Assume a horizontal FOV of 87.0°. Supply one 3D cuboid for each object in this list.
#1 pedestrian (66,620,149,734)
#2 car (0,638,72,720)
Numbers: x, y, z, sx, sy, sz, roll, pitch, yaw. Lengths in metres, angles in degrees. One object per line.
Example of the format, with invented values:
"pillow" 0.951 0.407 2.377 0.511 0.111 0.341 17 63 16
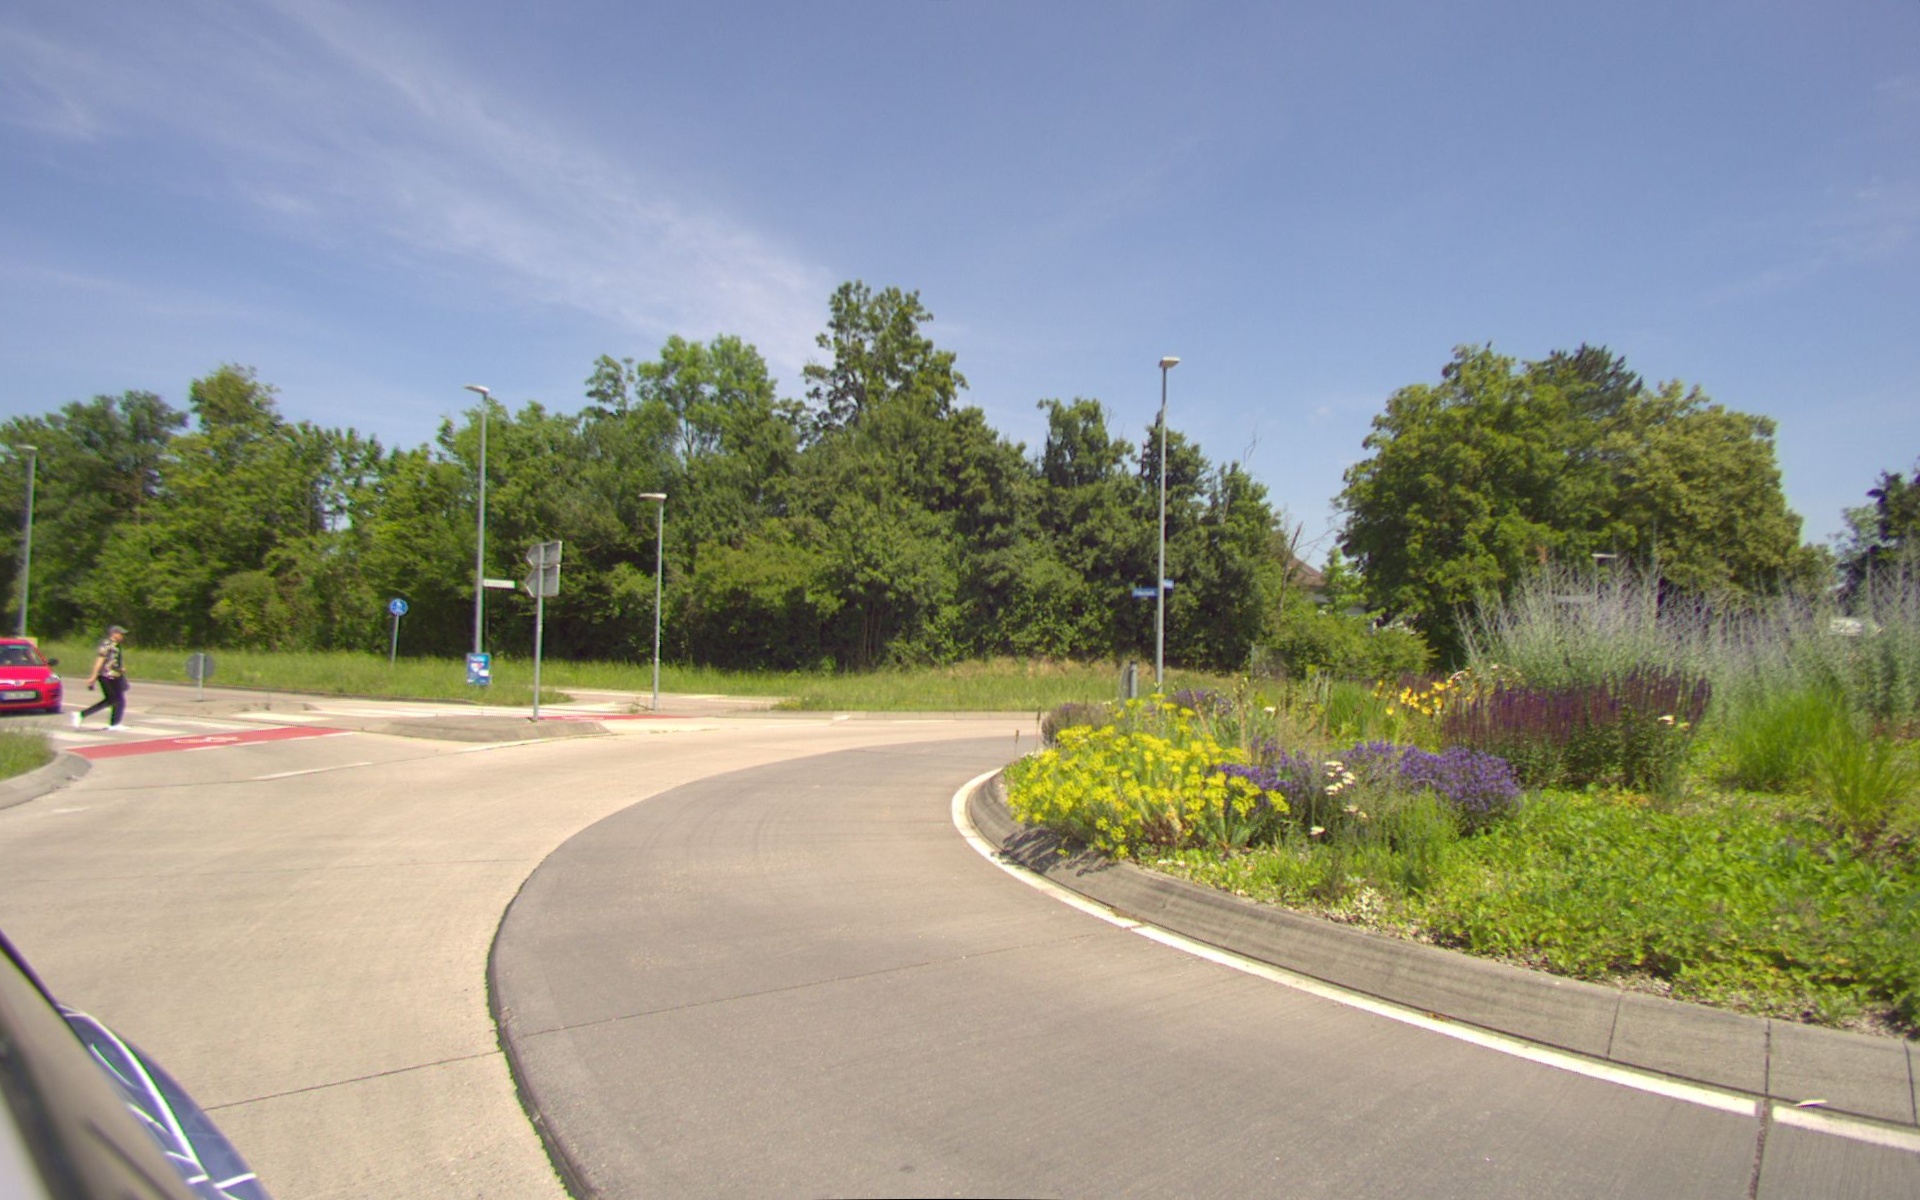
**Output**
"pedestrian" -14.273 1.281 16.951 0.824 1.836 0.702 0 -5 32
"car" -19.688 1.557 20.562 3.347 1.515 1.644 0 -2 34
